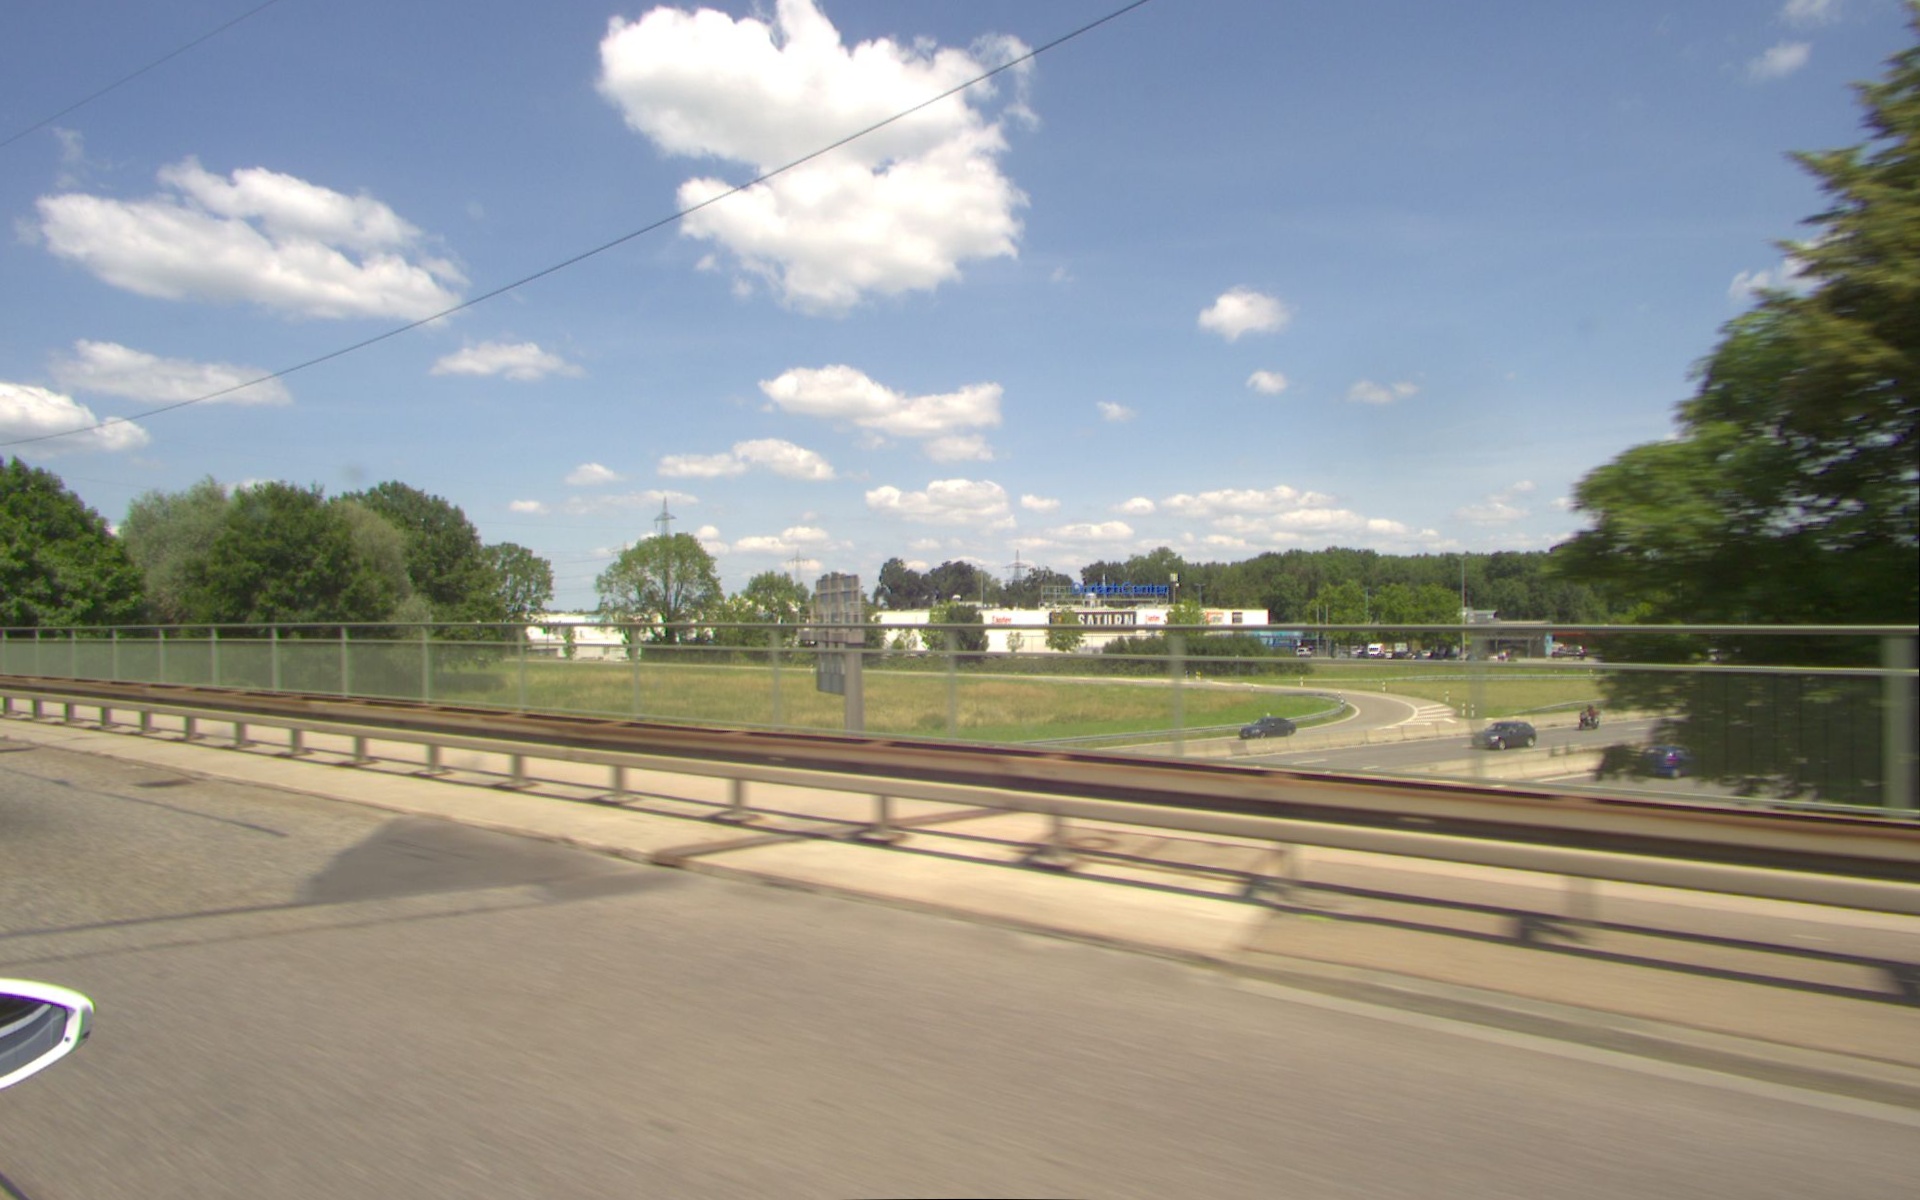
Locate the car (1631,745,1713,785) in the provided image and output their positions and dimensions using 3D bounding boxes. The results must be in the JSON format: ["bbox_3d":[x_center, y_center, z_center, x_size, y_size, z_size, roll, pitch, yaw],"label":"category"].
[{"bbox_3d":[35.619,8.251,50.078,3.944,1.814,1.819,5,-5,-29],"label":"car"}]

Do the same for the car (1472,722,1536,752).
[{"bbox_3d":[33.142,8.324,60.951,3.929,1.438,1.456,0,-3,-28],"label":"car"}]

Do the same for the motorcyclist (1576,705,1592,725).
[{"bbox_3d":[44.238,8.158,71.034,0.898,1.360,0.601,5,-5,-27],"label":"motorcyclist"}]

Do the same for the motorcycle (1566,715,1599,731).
[{"bbox_3d":[44.187,8.731,71.050,2.437,1.001,0.855,5,-5,-26],"label":"motorcycle"}]

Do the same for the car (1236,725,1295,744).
[{"bbox_3d":[21.260,9.357,69.639,3.861,1.185,1.661,6,-6,-29],"label":"car"}]
